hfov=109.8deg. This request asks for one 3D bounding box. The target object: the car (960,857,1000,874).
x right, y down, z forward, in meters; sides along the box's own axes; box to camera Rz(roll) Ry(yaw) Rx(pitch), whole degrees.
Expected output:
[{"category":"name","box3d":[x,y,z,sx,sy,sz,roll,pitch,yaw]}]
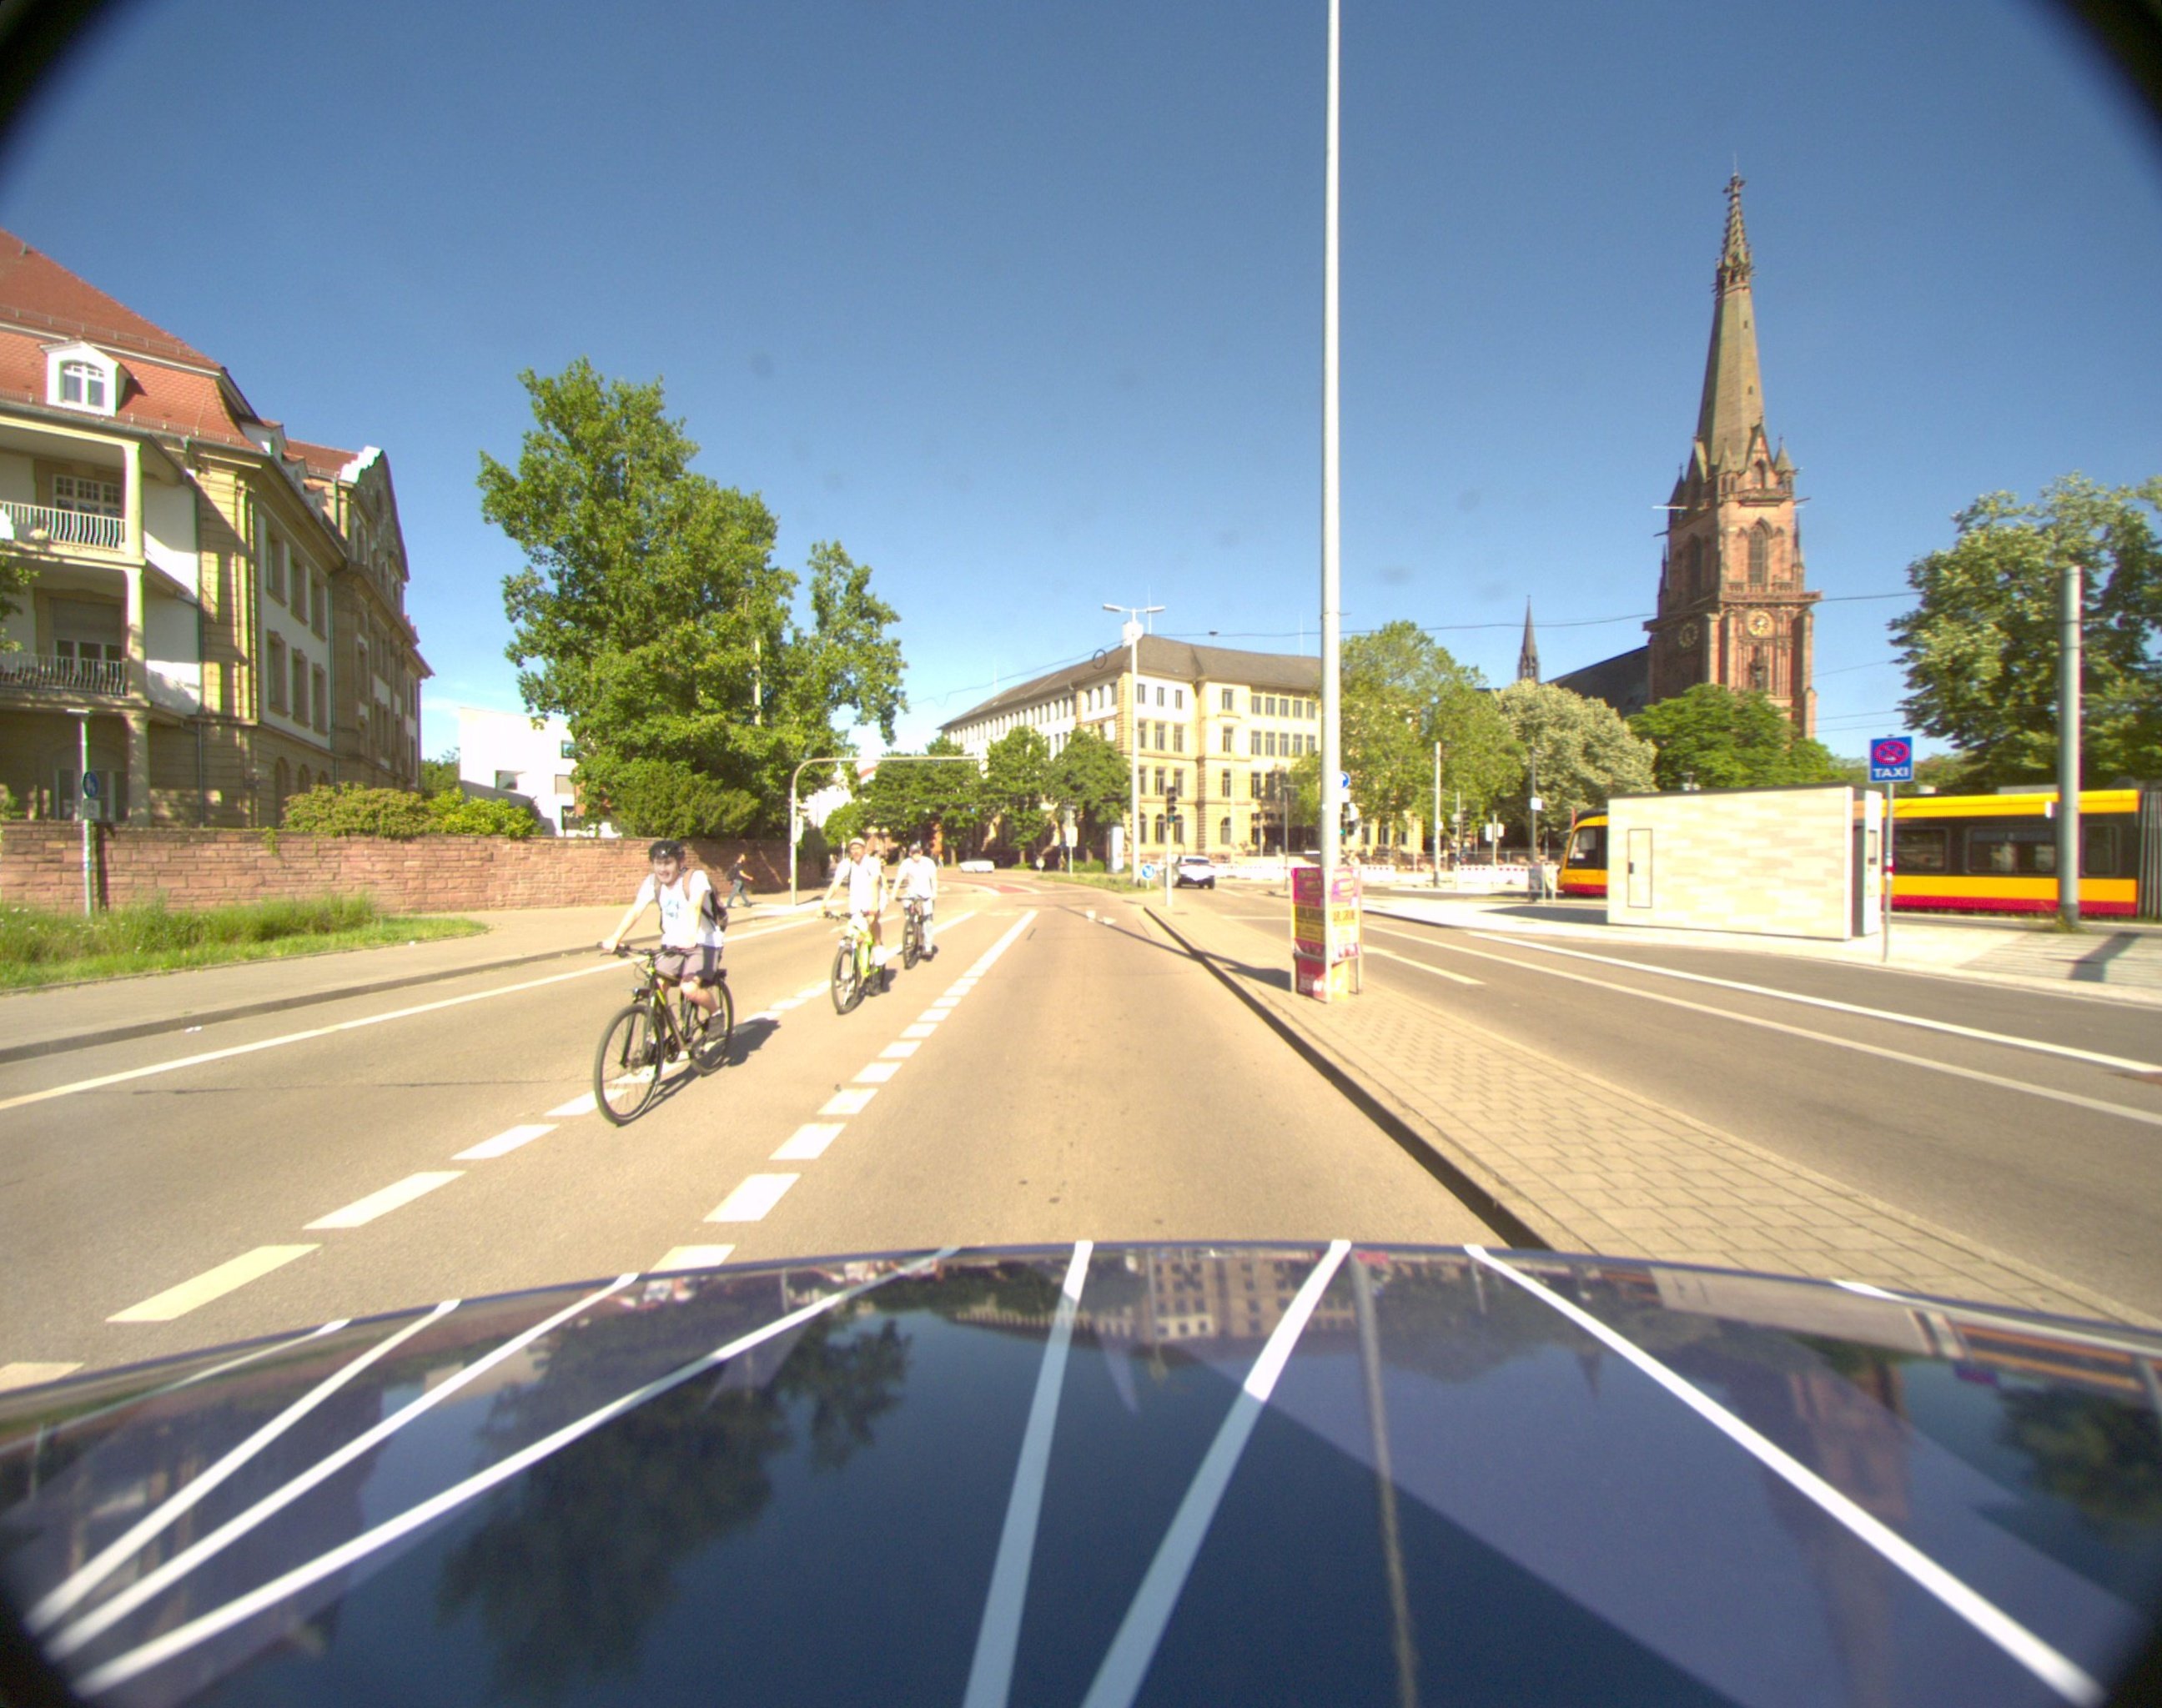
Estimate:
[{"category":"car","box3d":[-9.240,1.005,69.296,1.853,1.477,4.154,-1,1,-35]}]

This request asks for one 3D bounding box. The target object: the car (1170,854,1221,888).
[{"category":"car","box3d":[5.565,0.802,37.455,1.846,1.543,4.336,1,0,0]}]

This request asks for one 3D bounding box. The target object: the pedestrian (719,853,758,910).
[{"category":"pedestrian","box3d":[-11.472,0.904,25.439,0.729,1.839,0.963,2,1,42]}]

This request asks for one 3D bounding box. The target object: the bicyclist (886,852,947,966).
[{"category":"bicyclist","box3d":[-2.478,0.804,11.515,0.742,1.664,0.865,0,1,-1]}]

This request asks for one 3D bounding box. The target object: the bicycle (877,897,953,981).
[{"category":"bicycle","box3d":[-2.471,1.242,11.537,0.749,1.044,1.903,0,0,-1]}]

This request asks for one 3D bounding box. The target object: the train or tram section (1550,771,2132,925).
[{"category":"train or tram section","box3d":[22.006,-0.164,23.672,2.806,3.580,12.504,-1,1,-35]}]

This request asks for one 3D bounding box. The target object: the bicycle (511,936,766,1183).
[{"category":"bicycle","box3d":[-2.786,1.216,5.050,0.616,1.131,1.826,-1,1,-1]}]

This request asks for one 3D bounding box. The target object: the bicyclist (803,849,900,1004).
[{"category":"bicyclist","box3d":[-2.497,0.748,8.383,0.676,1.574,1.081,-2,1,0]}]

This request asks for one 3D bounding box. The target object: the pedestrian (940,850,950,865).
[{"category":"pedestrian","box3d":[-16.191,0.397,90.161,0.759,1.802,0.977,-1,1,-40]}]

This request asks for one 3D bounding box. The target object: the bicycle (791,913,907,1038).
[{"category":"bicycle","box3d":[-2.482,1.261,8.353,0.673,1.044,1.844,-2,0,0]}]

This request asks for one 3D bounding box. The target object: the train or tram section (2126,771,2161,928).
[{"category":"train or tram section","box3d":[29.086,-0.103,13.493,2.806,3.580,12.294,-1,1,-35]}]

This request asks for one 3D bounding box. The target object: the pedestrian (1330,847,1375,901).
[{"category":"pedestrian","box3d":[9.342,0.671,26.201,1.229,1.845,0.827,0,1,-5]}]

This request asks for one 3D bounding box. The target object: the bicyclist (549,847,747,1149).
[{"category":"bicyclist","box3d":[-2.778,0.856,4.988,0.678,1.775,0.939,-2,1,-1]}]
